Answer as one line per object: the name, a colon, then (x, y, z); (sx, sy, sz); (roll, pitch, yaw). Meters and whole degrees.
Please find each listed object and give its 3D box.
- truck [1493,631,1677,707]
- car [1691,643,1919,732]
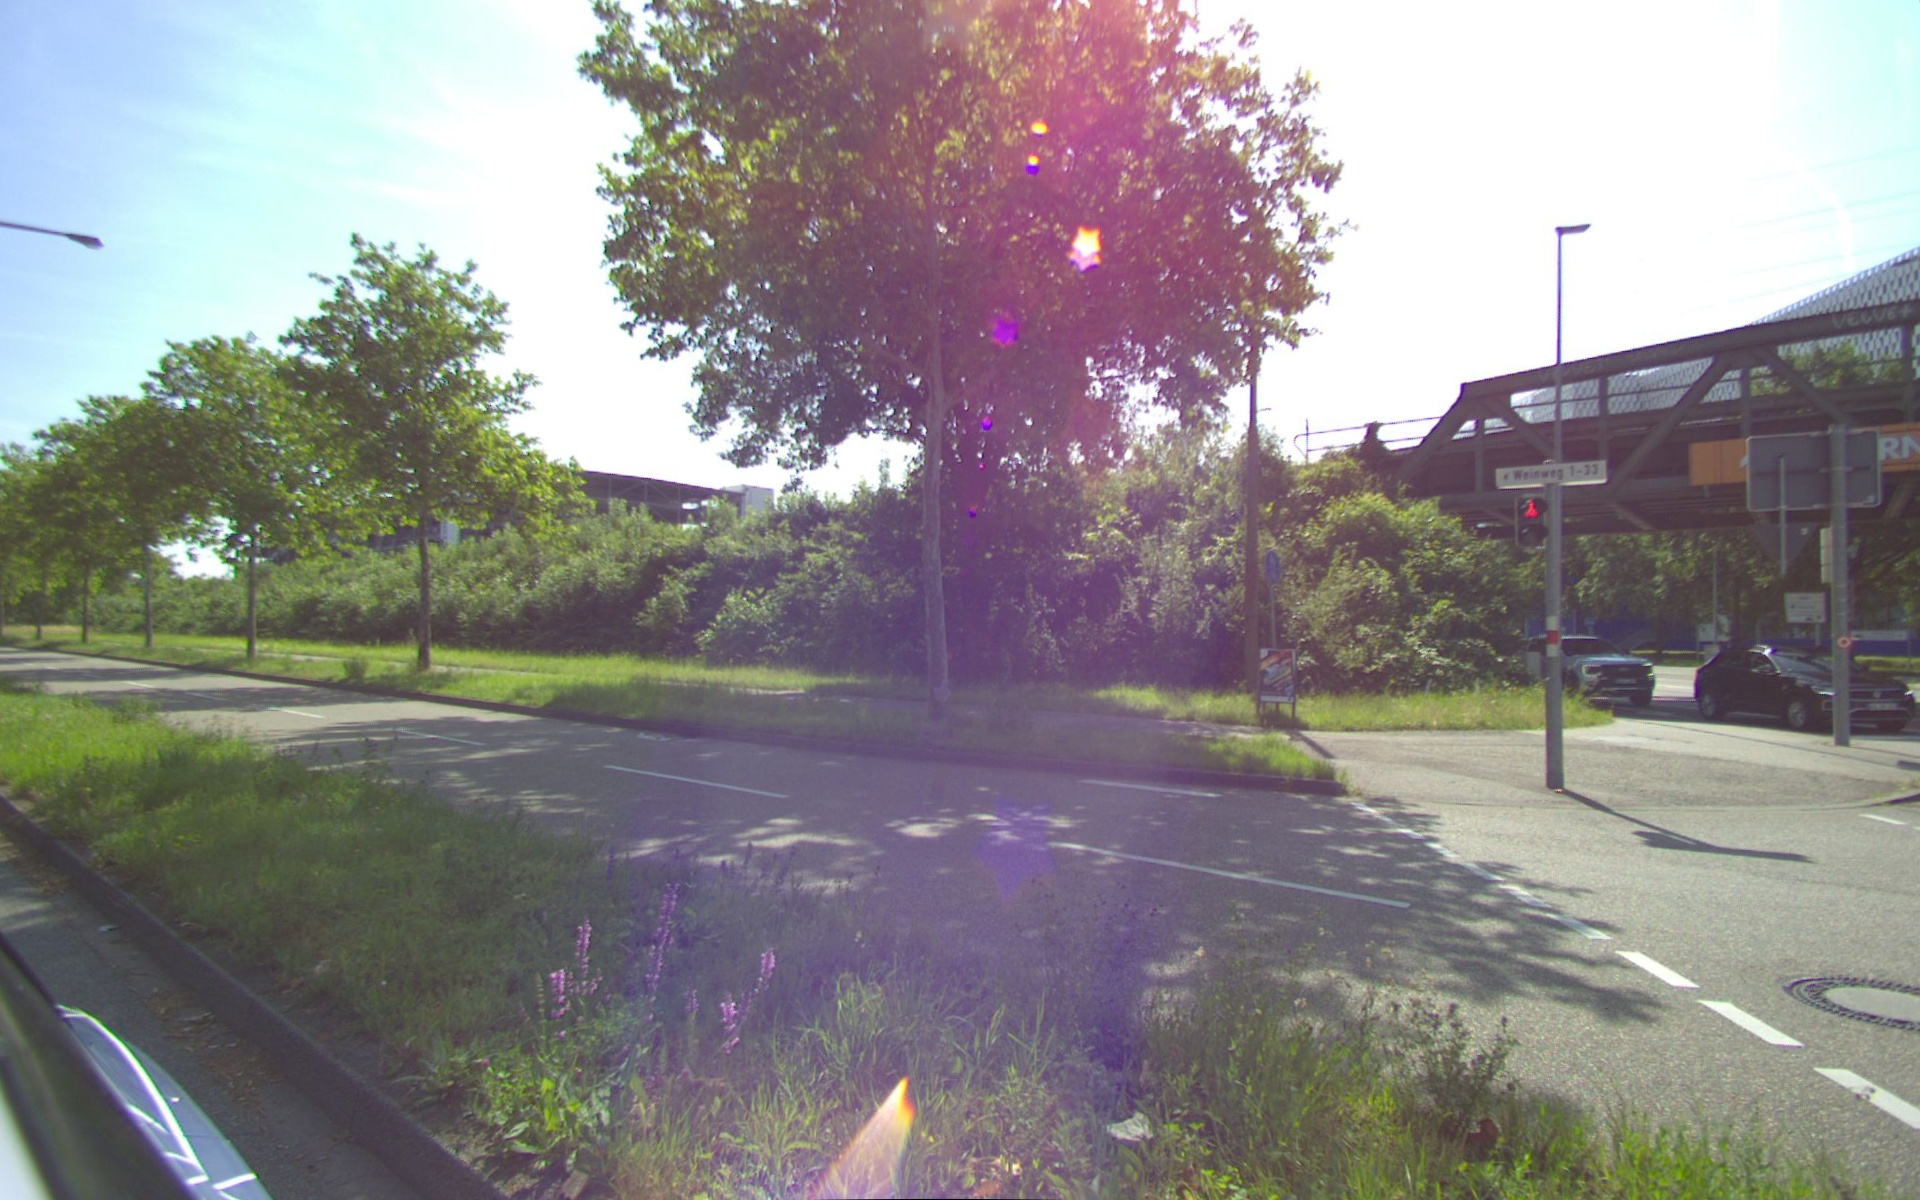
truck: (16.885, 1.797, 27.744); (2.007, 1.833, 5.317); (-2, -2, 5)
car: (16.285, 1.593, 19.452); (1.800, 1.492, 3.937); (0, -2, 5)
